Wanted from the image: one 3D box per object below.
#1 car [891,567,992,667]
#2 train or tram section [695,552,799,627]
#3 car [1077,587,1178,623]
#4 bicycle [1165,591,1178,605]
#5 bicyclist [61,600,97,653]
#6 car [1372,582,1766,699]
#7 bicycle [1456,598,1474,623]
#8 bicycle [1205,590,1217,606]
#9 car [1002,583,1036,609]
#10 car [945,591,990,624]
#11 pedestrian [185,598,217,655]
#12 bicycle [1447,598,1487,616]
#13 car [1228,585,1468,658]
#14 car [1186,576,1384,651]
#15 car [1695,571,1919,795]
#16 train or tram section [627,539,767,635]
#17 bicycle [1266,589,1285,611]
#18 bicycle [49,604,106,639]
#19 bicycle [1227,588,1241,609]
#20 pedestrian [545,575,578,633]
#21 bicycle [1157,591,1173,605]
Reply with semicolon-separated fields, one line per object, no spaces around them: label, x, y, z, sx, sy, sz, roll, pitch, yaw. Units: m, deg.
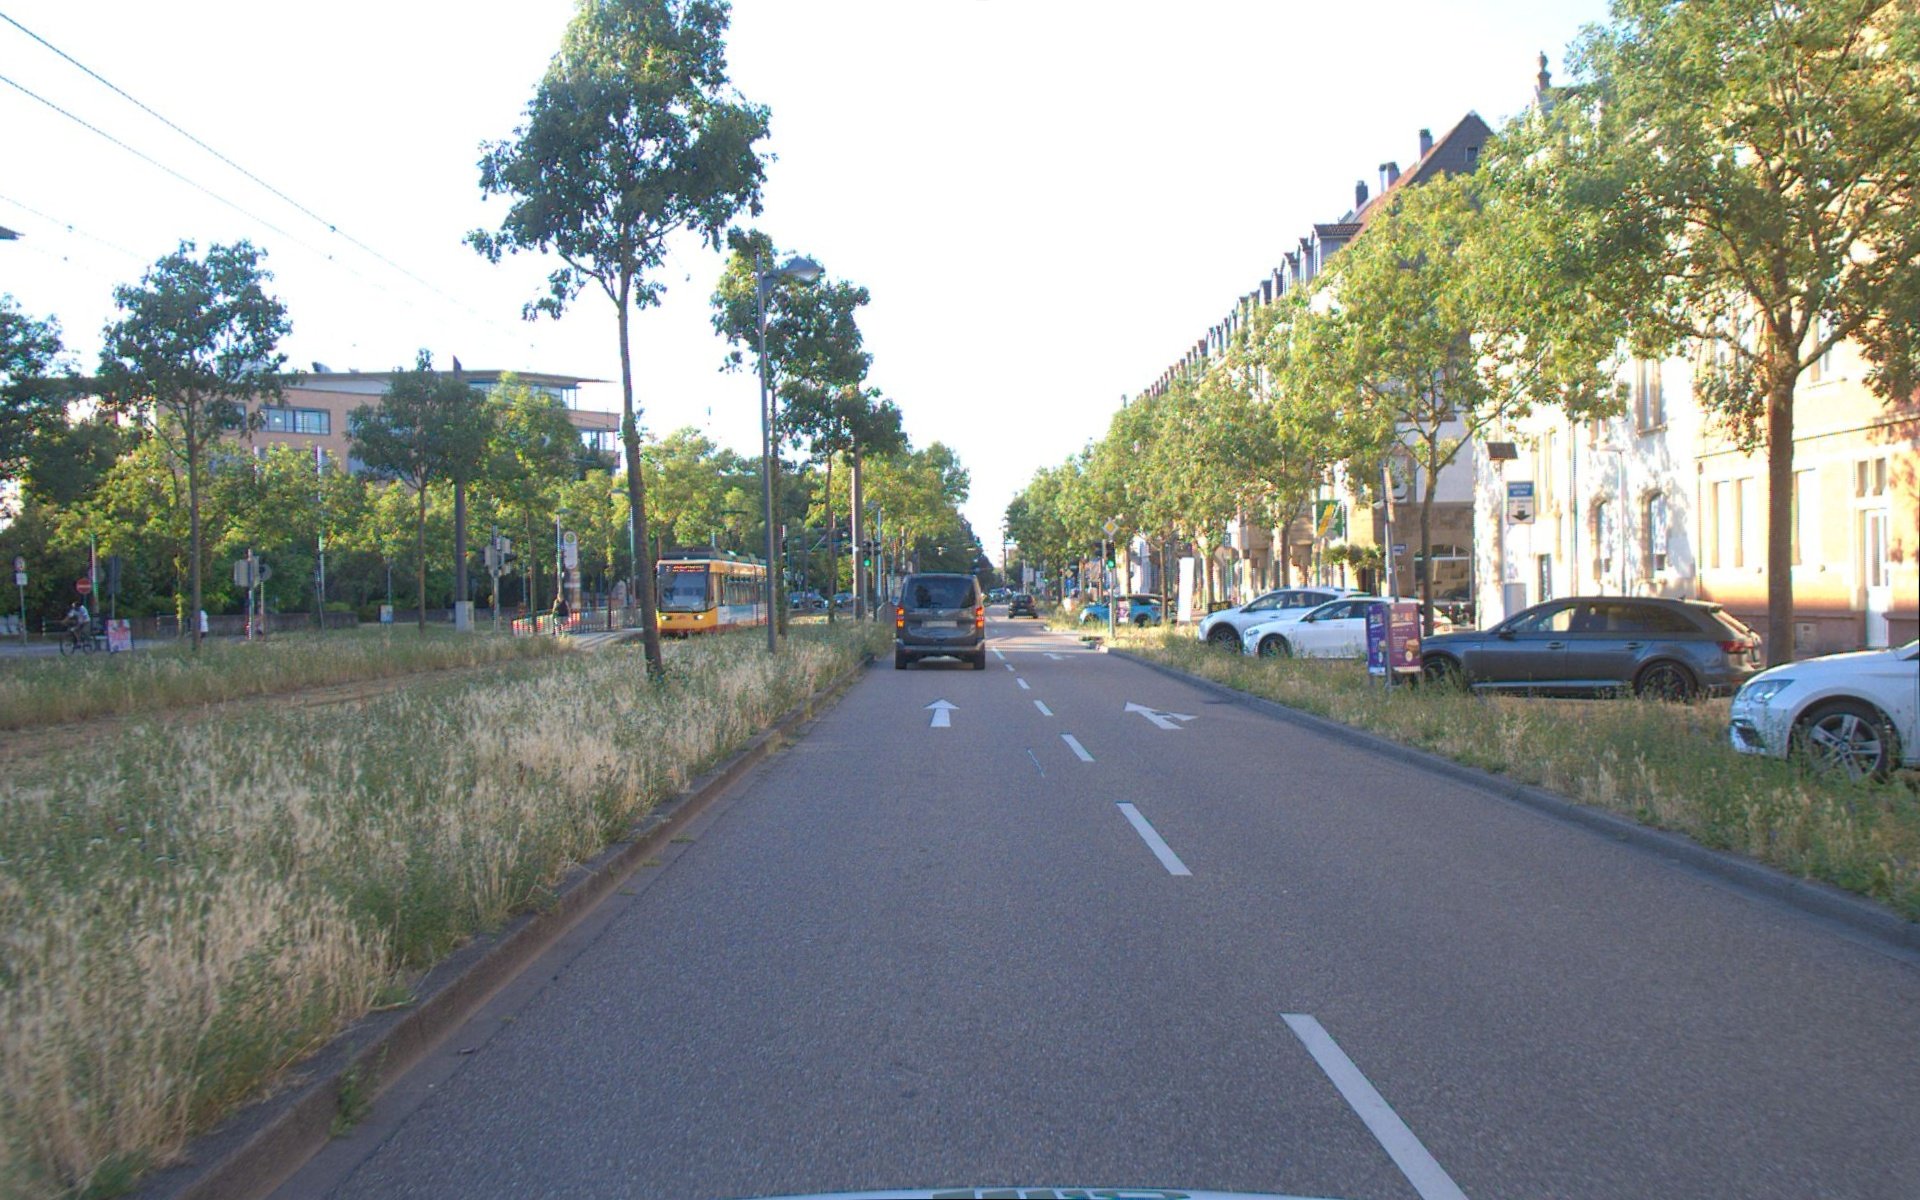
car;-0.337;0.315;34.418;1.952;1.934;4.299;1;0;0
train or tram section;-10.484;-0.507;82.991;3.361;3.398;13.857;-1;0;0
car;7.572;0.217;75.002;4.197;1.548;1.842;0;1;33
bicycle;14.581;-0.142;114.176;0.718;0.964;2.340;-2;0;3
bicyclist;-28.602;0.859;53.695;0.681;1.703;0.825;-1;0;0
car;7.831;0.493;21.404;4.486;1.371;1.891;-1;0;33
bicycle;20.390;0.424;66.790;0.615;0.964;1.886;0;1;14
bicycle;16.050;-0.125;105.772;0.473;1.023;1.746;-1;0;0
car;3.606;-0.253;102.383;1.953;1.537;4.000;0;0;0
car;0.325;0.330;78.184;1.954;1.537;3.998;0;0;-3
pedestrian;-23.354;0.805;50.903;0.675;1.727;0.828;-1;0;-8
bicycle;21.322;0.295;69.555;1.510;0.748;0.531;-1;1;-1
car;8.046;0.437;34.365;4.456;1.424;2.027;-1;0;31
car;7.910;0.315;40.386;4.343;1.721;1.909;0;1;35
car;7.779;0.545;11.564;4.552;1.536;1.841;-1;0;36
train or tram section;-10.563;-0.517;68.501;3.361;3.490;15.027;-1;0;0
bicycle;16.218;-0.030;84.956;0.560;1.092;1.896;-2;0;0
bicycle;-28.613;0.680;53.663;0.695;1.070;2.094;-1;0;0
bicycle;16.108;-0.085;97.248;0.473;1.185;1.746;-6;0;0
pedestrian;-14.301;0.144;59.318;0.915;2.049;0.957;-1;0;0
bicycle;14.449;-0.139;116.731;0.854;0.932;2.085;-3;0;2
